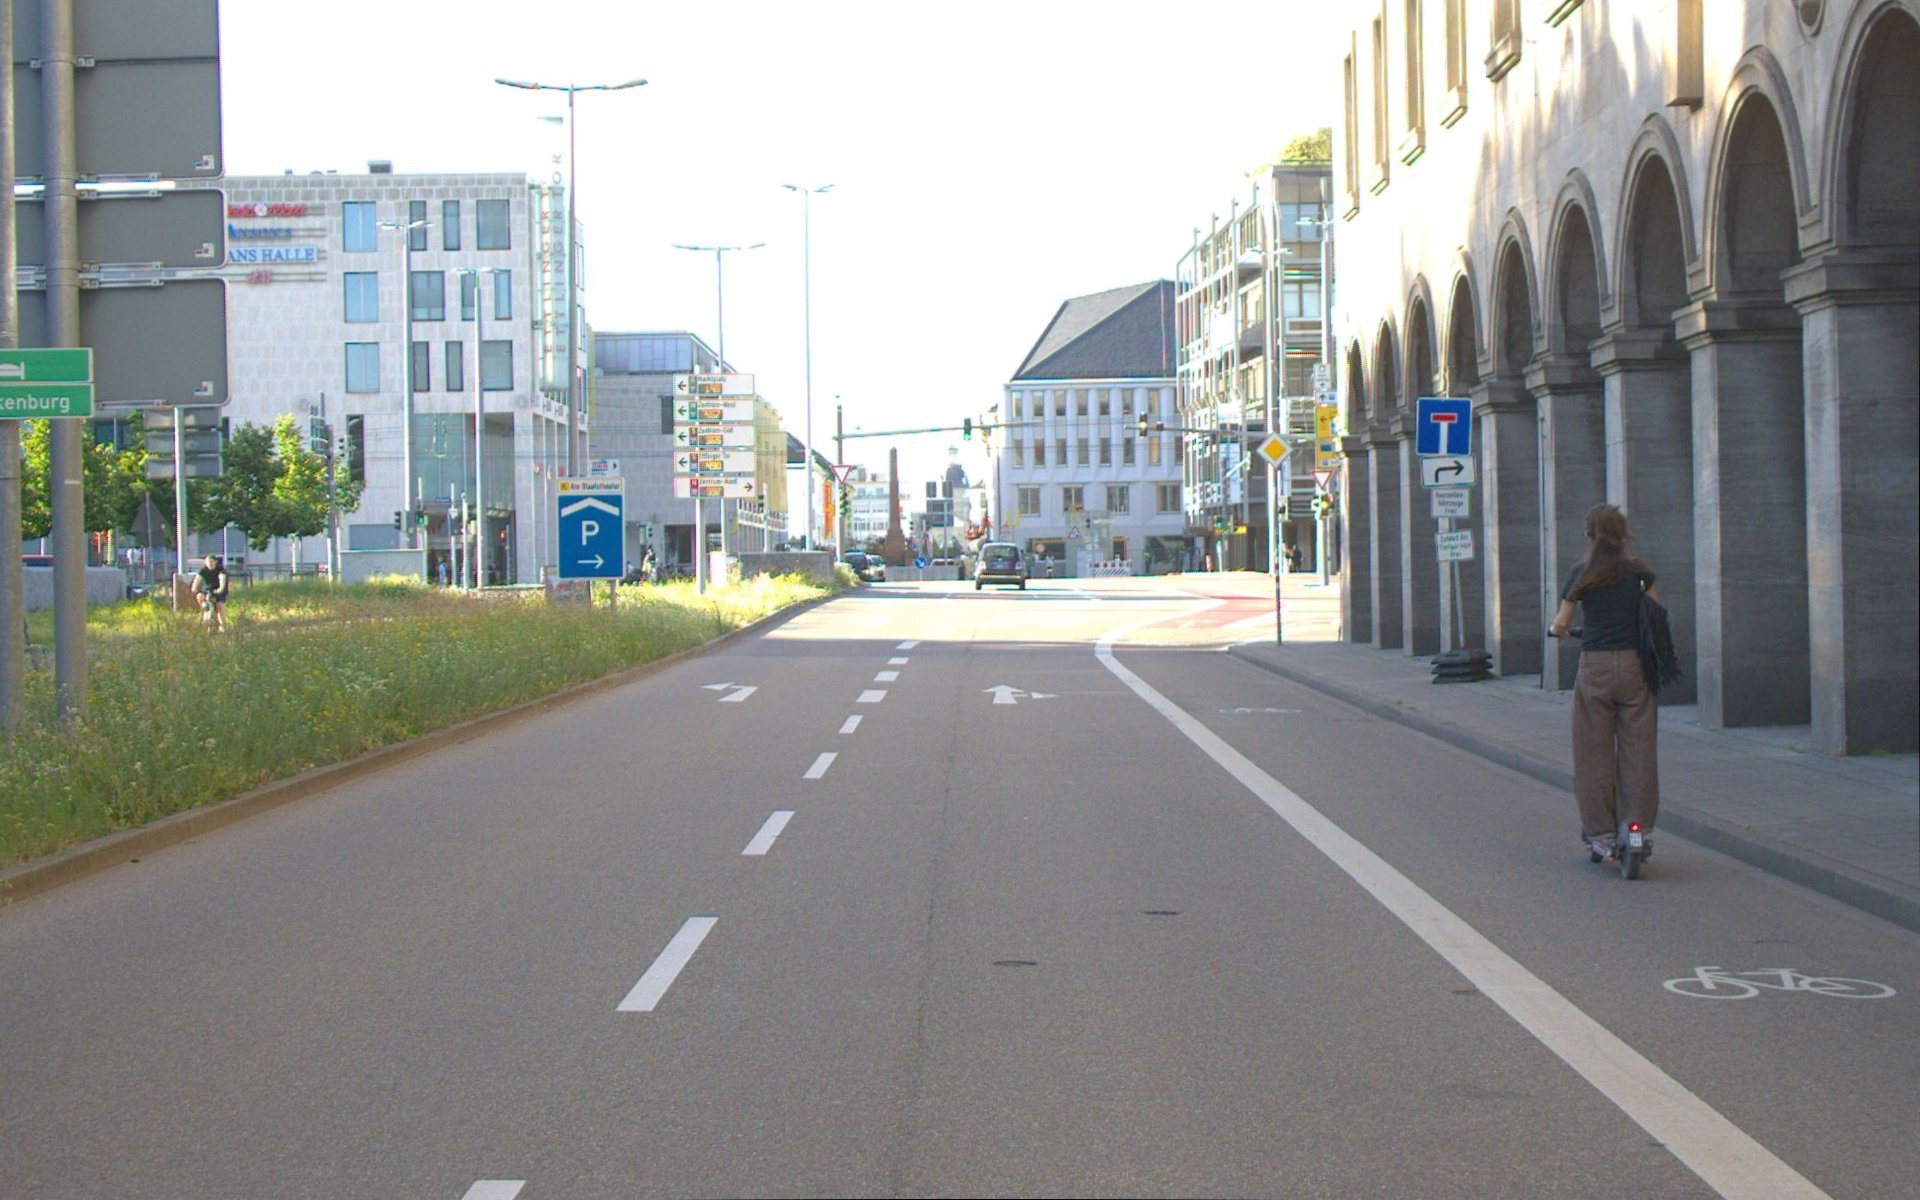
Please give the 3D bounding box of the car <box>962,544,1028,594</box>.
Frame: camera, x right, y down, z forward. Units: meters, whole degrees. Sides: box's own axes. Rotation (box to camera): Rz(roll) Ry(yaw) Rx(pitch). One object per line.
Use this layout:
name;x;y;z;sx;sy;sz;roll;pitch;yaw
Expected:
car;1.099;-1.015;110.665;1.775;1.558;3.790;-1;1;-4

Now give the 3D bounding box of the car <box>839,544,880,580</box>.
car;-5.344;-2.042;182.997;1.993;1.736;4.646;-1;2;1

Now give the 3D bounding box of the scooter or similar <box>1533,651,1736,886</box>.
scooter or similar;3.155;0.771;16.159;0.555;1.028;1.118;-1;1;-10

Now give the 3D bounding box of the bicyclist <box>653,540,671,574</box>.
bicyclist;-13.049;-1.885;150.518;0.607;1.484;0.681;-1;1;6

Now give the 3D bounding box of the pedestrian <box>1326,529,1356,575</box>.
pedestrian;14.444;-1.823;130.349;0.822;1.742;1.040;-2;0;23

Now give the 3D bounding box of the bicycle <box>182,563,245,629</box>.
bicycle;-15.115;-0.070;69.691;0.758;1.271;2.258;-1;-1;0

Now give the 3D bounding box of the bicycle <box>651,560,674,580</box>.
bicycle;-13.041;-1.317;150.609;0.612;0.858;1.950;-1;1;6

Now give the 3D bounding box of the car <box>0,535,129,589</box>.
car;-33.129;-1.398;126.767;4.638;1.804;1.872;-1;-1;-6

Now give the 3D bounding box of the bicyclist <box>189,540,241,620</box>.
bicyclist;-15.120;-0.400;69.780;0.747;1.585;1.202;-1;-1;1

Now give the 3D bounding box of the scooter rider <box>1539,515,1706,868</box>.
scooter rider;3.127;0.418;16.266;0.561;1.626;0.650;-1;1;-9
